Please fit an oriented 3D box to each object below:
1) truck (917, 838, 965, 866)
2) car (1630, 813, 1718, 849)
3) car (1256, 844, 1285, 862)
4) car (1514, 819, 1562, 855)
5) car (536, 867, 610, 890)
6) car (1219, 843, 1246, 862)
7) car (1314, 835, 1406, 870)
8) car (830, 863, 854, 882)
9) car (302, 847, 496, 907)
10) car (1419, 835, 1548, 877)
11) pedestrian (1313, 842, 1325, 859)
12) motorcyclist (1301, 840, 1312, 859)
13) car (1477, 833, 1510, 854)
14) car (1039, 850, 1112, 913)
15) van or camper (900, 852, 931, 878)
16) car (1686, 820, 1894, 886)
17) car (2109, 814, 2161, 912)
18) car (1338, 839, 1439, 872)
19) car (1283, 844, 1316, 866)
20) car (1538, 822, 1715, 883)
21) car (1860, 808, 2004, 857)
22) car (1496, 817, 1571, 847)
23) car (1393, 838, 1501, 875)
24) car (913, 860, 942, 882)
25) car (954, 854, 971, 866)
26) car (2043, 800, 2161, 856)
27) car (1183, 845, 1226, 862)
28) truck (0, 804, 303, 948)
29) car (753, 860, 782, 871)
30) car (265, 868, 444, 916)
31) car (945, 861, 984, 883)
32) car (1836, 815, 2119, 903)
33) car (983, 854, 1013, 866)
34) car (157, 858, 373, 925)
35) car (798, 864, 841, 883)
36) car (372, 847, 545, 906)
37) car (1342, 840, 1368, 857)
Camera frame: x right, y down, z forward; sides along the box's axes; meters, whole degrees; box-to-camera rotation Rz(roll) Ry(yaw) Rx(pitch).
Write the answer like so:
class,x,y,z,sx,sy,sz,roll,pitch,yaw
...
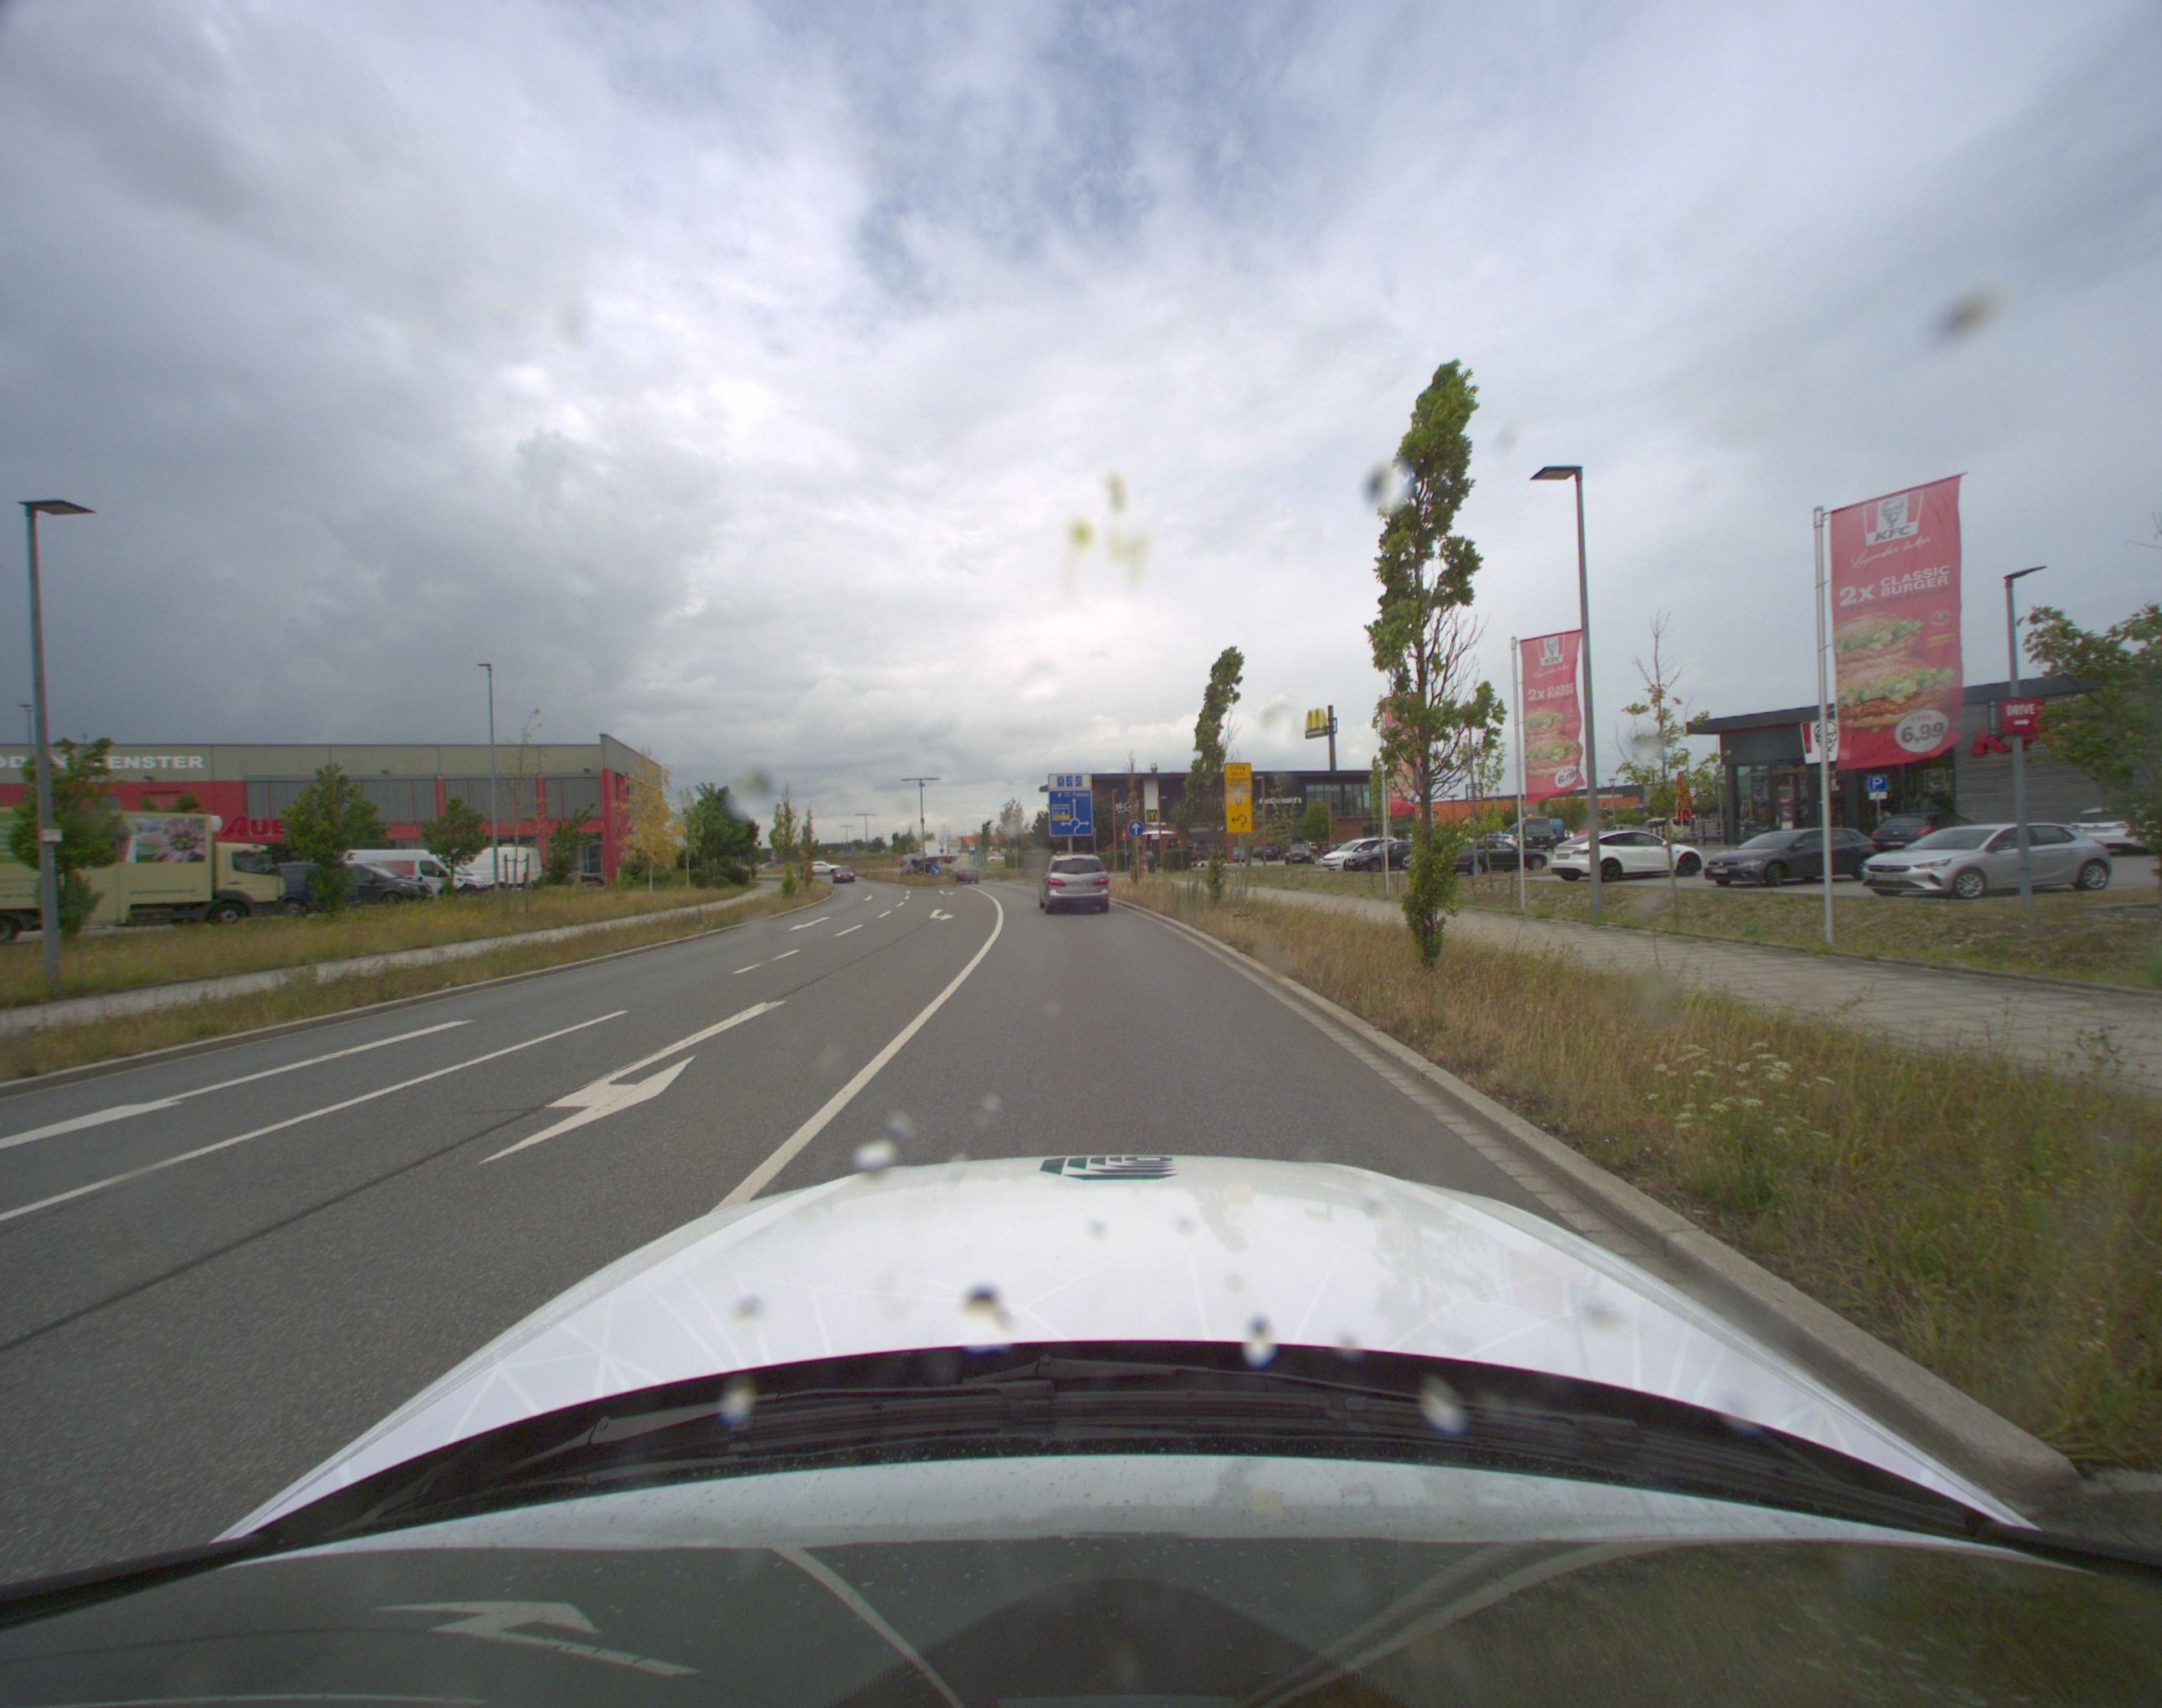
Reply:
class,x,y,z,sx,sy,sz,roll,pitch,yaw
truck,-21.952,-0.306,127.118,3.159,3.906,9.227,-2,0,-39
car,42.388,-1.610,58.419,2.514,2.351,5.702,-3,0,6
car,18.614,-0.100,79.897,2.097,1.717,4.253,-2,0,21
car,34.483,-1.286,61.607,2.254,2.501,7.369,-2,0,23
car,-38.750,1.870,62.200,1.974,1.552,4.415,-2,0,41
car,14.637,-0.171,78.340,1.978,1.717,4.019,-2,0,18
car,15.072,-0.085,44.038,4.359,1.639,1.926,-3,0,-18
car,-23.726,1.798,80.755,1.807,1.669,4.294,-5,0,-22
car,-29.790,0.958,35.852,6.084,2.307,2.197,-2,0,-17
car,16.656,0.083,33.755,4.521,1.469,2.023,-3,0,-13
pedestrian,20.783,-0.319,71.043,0.761,1.439,0.628,-3,0,40
motorcyclist,22.151,-0.421,79.931,0.953,1.832,0.849,-2,0,18
car,31.148,-0.799,61.607,1.932,1.443,4.242,-3,0,24
car,-0.233,0.719,23.209,1.727,1.600,3.799,-1,0,-6
van or camper,-16.795,1.135,82.426,2.311,2.506,5.170,-2,0,-20
car,18.948,-0.020,21.881,3.979,1.484,1.938,-3,-1,-4
car,18.381,0.057,12.140,3.746,1.494,1.889,-2,0,-1
car,15.683,0.080,41.601,4.476,1.436,2.063,-3,0,-16
car,14.860,0.054,55.306,1.796,1.313,3.869,-2,0,20
car,17.910,-0.054,26.838,4.558,1.645,2.083,-4,0,-8
car,31.699,-0.793,30.349,4.377,1.519,2.034,-3,0,-19
car,42.377,-2.032,76.401,5.969,2.528,2.296,-2,0,30
car,16.484,0.101,36.725,4.090,1.438,1.933,-3,0,-14
car,-14.197,1.545,75.132,2.063,1.826,4.758,-2,0,-17
car,-16.920,0.857,116.458,1.990,1.515,3.993,-3,0,-5
car,32.377,-0.829,24.975,4.573,1.519,2.069,-3,0,-17
car,12.991,-0.062,85.522,4.000,1.717,1.987,-2,0,-20
truck,-27.281,0.569,22.081,2.825,3.541,8.473,-2,0,21
car,-47.417,1.732,123.335,4.003,1.407,1.834,-4,0,-22
car,-29.103,1.486,32.829,4.917,1.616,1.982,-2,0,-19
car,-8.094,1.226,56.407,1.851,1.418,4.197,-3,0,-19
car,18.509,0.096,16.954,3.852,1.481,1.901,-4,0,-2
car,-13.165,0.899,128.787,4.601,1.757,1.994,-2,0,-10
car,-28.249,1.254,28.386,4.900,1.990,2.172,-2,0,-9
car,-32.107,2.392,100.172,4.603,2.013,1.996,-2,0,-6
car,-30.914,1.062,40.727,6.421,2.598,2.231,-2,0,-16
car,27.728,-0.530,82.548,1.980,1.581,4.013,-2,0,12
